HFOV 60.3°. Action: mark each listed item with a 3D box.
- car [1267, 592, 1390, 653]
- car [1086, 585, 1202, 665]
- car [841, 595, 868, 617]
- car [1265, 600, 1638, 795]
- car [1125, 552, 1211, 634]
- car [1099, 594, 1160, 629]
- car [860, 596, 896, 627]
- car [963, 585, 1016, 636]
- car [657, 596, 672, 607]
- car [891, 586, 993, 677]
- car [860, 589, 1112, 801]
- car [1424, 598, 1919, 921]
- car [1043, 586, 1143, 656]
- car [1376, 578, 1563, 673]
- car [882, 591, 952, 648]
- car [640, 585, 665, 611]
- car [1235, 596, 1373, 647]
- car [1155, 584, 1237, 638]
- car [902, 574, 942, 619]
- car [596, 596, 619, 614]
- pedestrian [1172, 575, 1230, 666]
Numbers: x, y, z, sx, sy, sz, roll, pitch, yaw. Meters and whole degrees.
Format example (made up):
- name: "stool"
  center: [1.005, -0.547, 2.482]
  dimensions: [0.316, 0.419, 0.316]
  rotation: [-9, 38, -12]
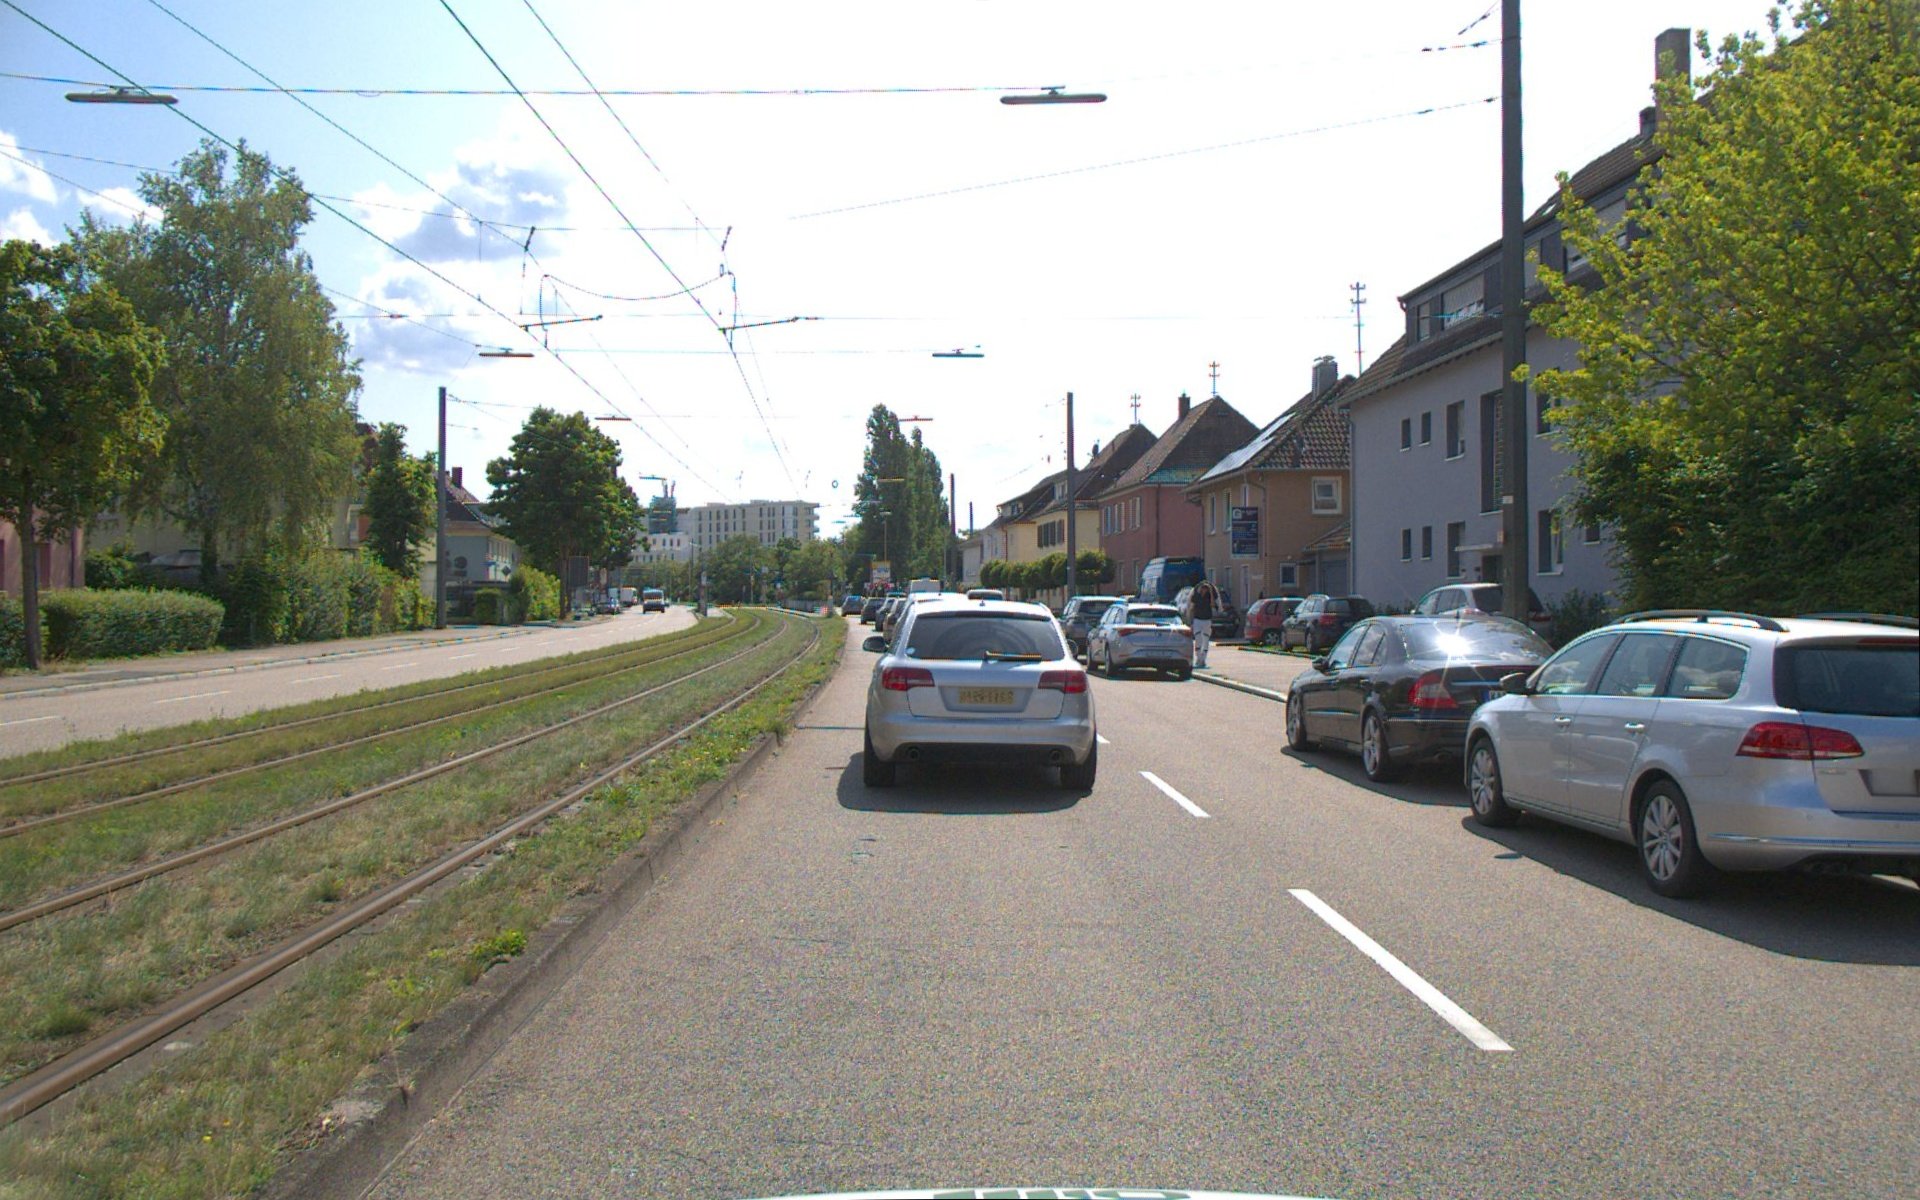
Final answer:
- name: "car"
  center: [9.245, 0.534, 41.839]
  dimensions: [1.763, 1.448, 4.854]
  rotation: [-1, 0, -3]
- name: "car"
  center: [3.718, 0.501, 34.127]
  dimensions: [1.778, 1.479, 4.642]
  rotation: [1, -1, -1]
- name: "car"
  center: [-7.595, 0.453, 119.769]
  dimensions: [1.847, 1.557, 4.092]
  rotation: [1, -1, -3]
- name: "car"
  center: [4.363, 0.773, 15.635]
  dimensions: [1.861, 1.469, 5.056]
  rotation: [1, 0, -2]
- name: "car"
  center: [7.982, -0.233, 64.078]
  dimensions: [2.109, 2.981, 6.239]
  rotation: [1, -1, -3]
- name: "car"
  center: [7.244, 0.491, 70.931]
  dimensions: [1.618, 1.434, 4.342]
  rotation: [0, 0, -8]
- name: "car"
  center: [-4.407, 0.612, 88.759]
  dimensions: [1.847, 1.557, 4.092]
  rotation: [1, -1, -3]
- name: "car"
  center: [1.056, 0.362, 60.127]
  dimensions: [1.846, 1.761, 4.094]
  rotation: [0, 0, 0]
- name: "car"
  center: [-41.148, 0.202, 230.001]
  dimensions: [1.863, 1.568, 3.717]
  rotation: [2, -1, -13]
- name: "car"
  center: [-0.415, 0.574, 32.541]
  dimensions: [1.752, 1.604, 4.091]
  rotation: [2, 0, -3]
- name: "car"
  center: [0.194, 0.697, 14.333]
  dimensions: [1.816, 1.518, 4.536]
  rotation: [1, 0, 0]
- name: "car"
  center: [4.595, 0.778, 10.204]
  dimensions: [1.852, 1.481, 5.003]
  rotation: [1, -1, -2]
- name: "car"
  center: [3.241, 0.509, 41.086]
  dimensions: [1.772, 1.587, 4.249]
  rotation: [1, -1, -5]
- name: "car"
  center: [9.701, 0.473, 31.891]
  dimensions: [1.723, 1.676, 4.763]
  rotation: [-1, 0, -6]
- name: "car"
  center: [-1.208, 0.513, 45.894]
  dimensions: [1.847, 1.491, 4.092]
  rotation: [0, 0, -2]
- name: "car"
  center: [-29.763, -0.177, 160.011]
  dimensions: [2.158, 2.413, 5.316]
  rotation: [-1, 0, -12]
- name: "car"
  center: [9.886, 0.615, 47.677]
  dimensions: [3.578, 1.404, 1.725]
  rotation: [0, -1, -6]
- name: "car"
  center: [8.195, 0.353, 57.830]
  dimensions: [1.800, 1.741, 4.859]
  rotation: [-2, 0, -4]
- name: "car"
  center: [-2.317, -0.218, 99.133]
  dimensions: [2.002, 2.602, 5.224]
  rotation: [0, 0, -6]
- name: "car"
  center: [-32.641, 0.435, 153.190]
  dimensions: [1.752, 1.612, 3.924]
  rotation: [0, 0, -7]
- name: "pedestrian"
  center: [5.329, 0.450, 36.653]
  dimensions: [1.090, 1.980, 1.091]
  rotation: [0, -1, -3]
